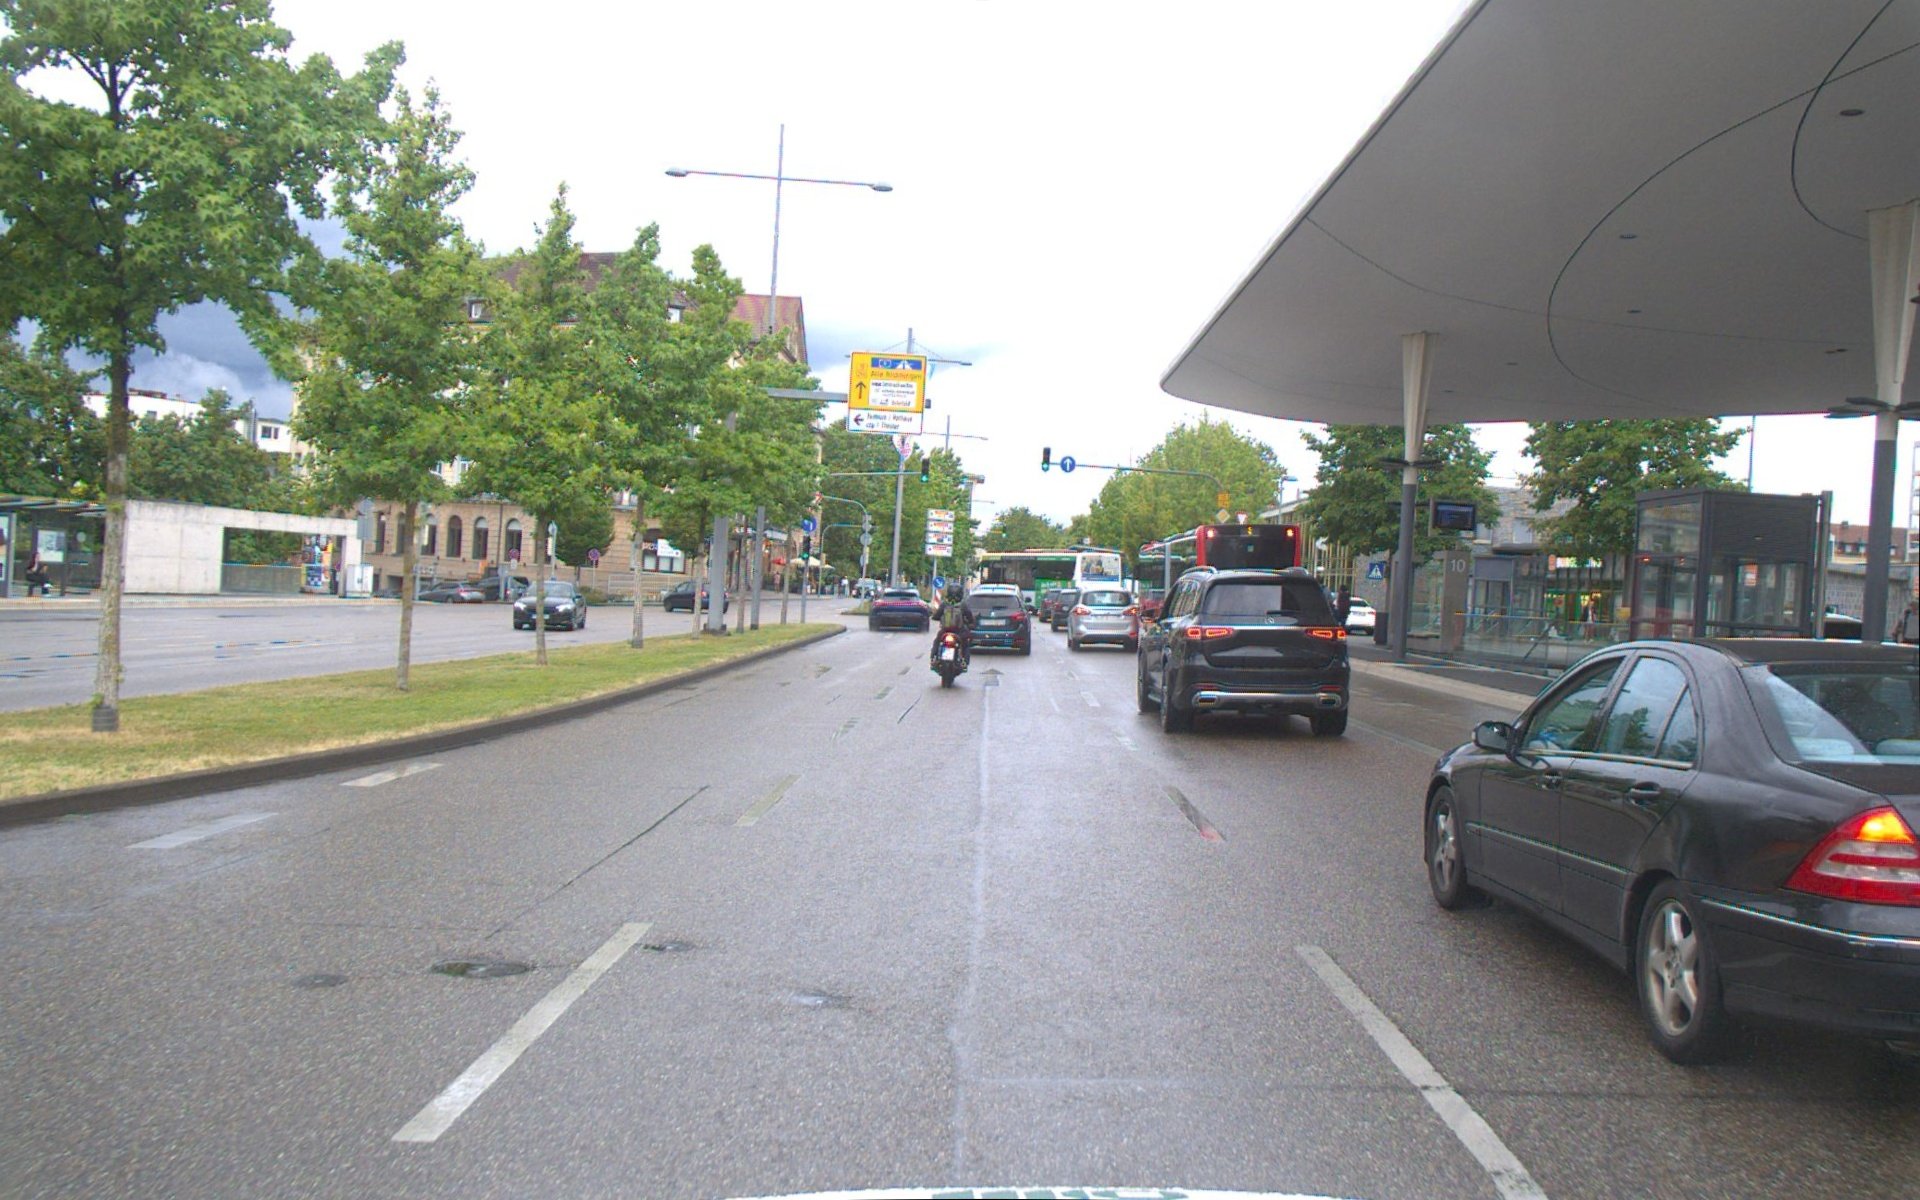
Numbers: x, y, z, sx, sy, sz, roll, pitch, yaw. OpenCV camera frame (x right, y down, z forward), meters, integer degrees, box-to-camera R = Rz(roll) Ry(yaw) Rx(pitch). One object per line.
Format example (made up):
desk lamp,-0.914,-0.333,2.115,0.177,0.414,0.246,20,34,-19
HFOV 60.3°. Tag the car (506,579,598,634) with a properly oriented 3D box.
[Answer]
car,-12.323,0.188,50.214,1.646,1.554,4.638,2,0,-1

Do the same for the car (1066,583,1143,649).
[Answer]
car,3.634,0.373,42.033,1.705,1.594,3.872,0,1,1

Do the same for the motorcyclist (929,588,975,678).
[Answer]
motorcyclist,-0.120,0.503,25.924,0.628,1.371,0.689,1,0,4

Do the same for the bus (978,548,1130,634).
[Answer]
bus,4.645,-0.520,85.679,2.800,4.057,11.777,2,0,-24

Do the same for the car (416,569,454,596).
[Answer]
car,-32.847,-1.114,103.441,1.640,1.632,3.221,-1,2,-29

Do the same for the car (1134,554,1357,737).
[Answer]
car,3.236,0.452,19.707,1.917,1.908,4.874,0,1,1

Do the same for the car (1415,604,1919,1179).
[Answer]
car,3.250,0.804,6.597,1.663,1.487,4.304,1,1,0

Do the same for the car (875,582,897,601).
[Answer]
car,-6.055,-0.698,135.970,1.543,1.594,3.430,0,1,1

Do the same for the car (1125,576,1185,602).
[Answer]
car,12.128,-0.695,103.067,1.564,1.594,3.745,0,1,-37

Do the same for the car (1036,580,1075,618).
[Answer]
car,4.023,-0.062,70.032,1.543,1.594,3.796,0,1,1

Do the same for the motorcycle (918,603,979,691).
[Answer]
motorcycle,-0.159,0.709,25.677,0.776,1.284,1.856,1,0,5

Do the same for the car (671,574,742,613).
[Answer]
car,-11.770,-0.302,76.681,1.820,1.656,3.662,2,0,-34

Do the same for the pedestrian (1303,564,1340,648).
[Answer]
pedestrian,9.225,0.154,42.196,0.761,2.048,0.782,5,1,14

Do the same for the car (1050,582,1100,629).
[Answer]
car,4.015,0.165,58.083,1.543,1.594,3.872,0,1,1

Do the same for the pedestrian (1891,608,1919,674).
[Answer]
pedestrian,24.489,1.060,42.797,0.570,1.605,0.559,3,-4,36

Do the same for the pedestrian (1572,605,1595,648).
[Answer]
pedestrian,24.278,1.041,64.371,0.592,1.605,0.673,5,-3,7

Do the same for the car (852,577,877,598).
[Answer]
car,-7.461,-0.984,129.625,1.743,1.594,3.430,0,1,1

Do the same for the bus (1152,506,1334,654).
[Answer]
bus,7.193,-0.513,43.802,3.218,3.349,10.880,1,0,2

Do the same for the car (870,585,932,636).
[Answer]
car,-1.895,0.321,54.534,1.778,1.598,4.405,0,1,1

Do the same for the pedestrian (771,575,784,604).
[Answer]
pedestrian,-13.147,-0.767,119.083,0.715,2.049,0.820,1,0,-25

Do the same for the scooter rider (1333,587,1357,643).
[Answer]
scooter rider,10.602,0.408,45.551,0.579,1.516,0.765,2,-1,15

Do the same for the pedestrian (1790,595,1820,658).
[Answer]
pedestrian,22.288,0.701,43.628,0.569,1.605,0.560,4,-4,31

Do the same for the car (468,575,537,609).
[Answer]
car,-25.790,-0.471,93.228,2.100,1.807,4.327,1,0,-41

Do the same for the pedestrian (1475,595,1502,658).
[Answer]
pedestrian,14.484,0.734,45.316,0.563,1.707,0.582,1,-1,27

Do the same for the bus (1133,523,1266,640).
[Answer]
bus,7.513,-0.583,53.123,3.223,3.346,8.852,1,0,2

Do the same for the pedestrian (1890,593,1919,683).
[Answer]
pedestrian,22.473,0.906,39.076,0.710,2.048,0.669,4,-4,28

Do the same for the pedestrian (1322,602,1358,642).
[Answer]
pedestrian,10.465,0.603,45.560,0.894,1.002,0.634,3,-4,15

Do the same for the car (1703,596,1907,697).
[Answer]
car,15.986,0.825,31.555,1.677,1.691,4.240,3,0,0

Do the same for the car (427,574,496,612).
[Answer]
car,-27.184,-0.378,90.130,1.858,1.713,3.936,8,-3,-44

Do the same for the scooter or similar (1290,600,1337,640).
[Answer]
scooter or similar,9.776,0.557,45.744,1.216,1.030,0.764,2,0,15

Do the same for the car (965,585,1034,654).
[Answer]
car,0.944,0.421,38.631,1.543,1.531,3.872,0,1,2

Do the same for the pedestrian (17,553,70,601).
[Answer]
pedestrian,-26.636,-0.658,48.076,0.956,1.289,0.849,6,1,22

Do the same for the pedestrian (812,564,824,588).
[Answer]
pedestrian,-11.773,-1.971,136.700,0.715,2.000,0.820,1,0,-25

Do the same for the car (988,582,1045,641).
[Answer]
car,1.575,0.293,46.791,1.543,1.594,3.872,0,1,1
